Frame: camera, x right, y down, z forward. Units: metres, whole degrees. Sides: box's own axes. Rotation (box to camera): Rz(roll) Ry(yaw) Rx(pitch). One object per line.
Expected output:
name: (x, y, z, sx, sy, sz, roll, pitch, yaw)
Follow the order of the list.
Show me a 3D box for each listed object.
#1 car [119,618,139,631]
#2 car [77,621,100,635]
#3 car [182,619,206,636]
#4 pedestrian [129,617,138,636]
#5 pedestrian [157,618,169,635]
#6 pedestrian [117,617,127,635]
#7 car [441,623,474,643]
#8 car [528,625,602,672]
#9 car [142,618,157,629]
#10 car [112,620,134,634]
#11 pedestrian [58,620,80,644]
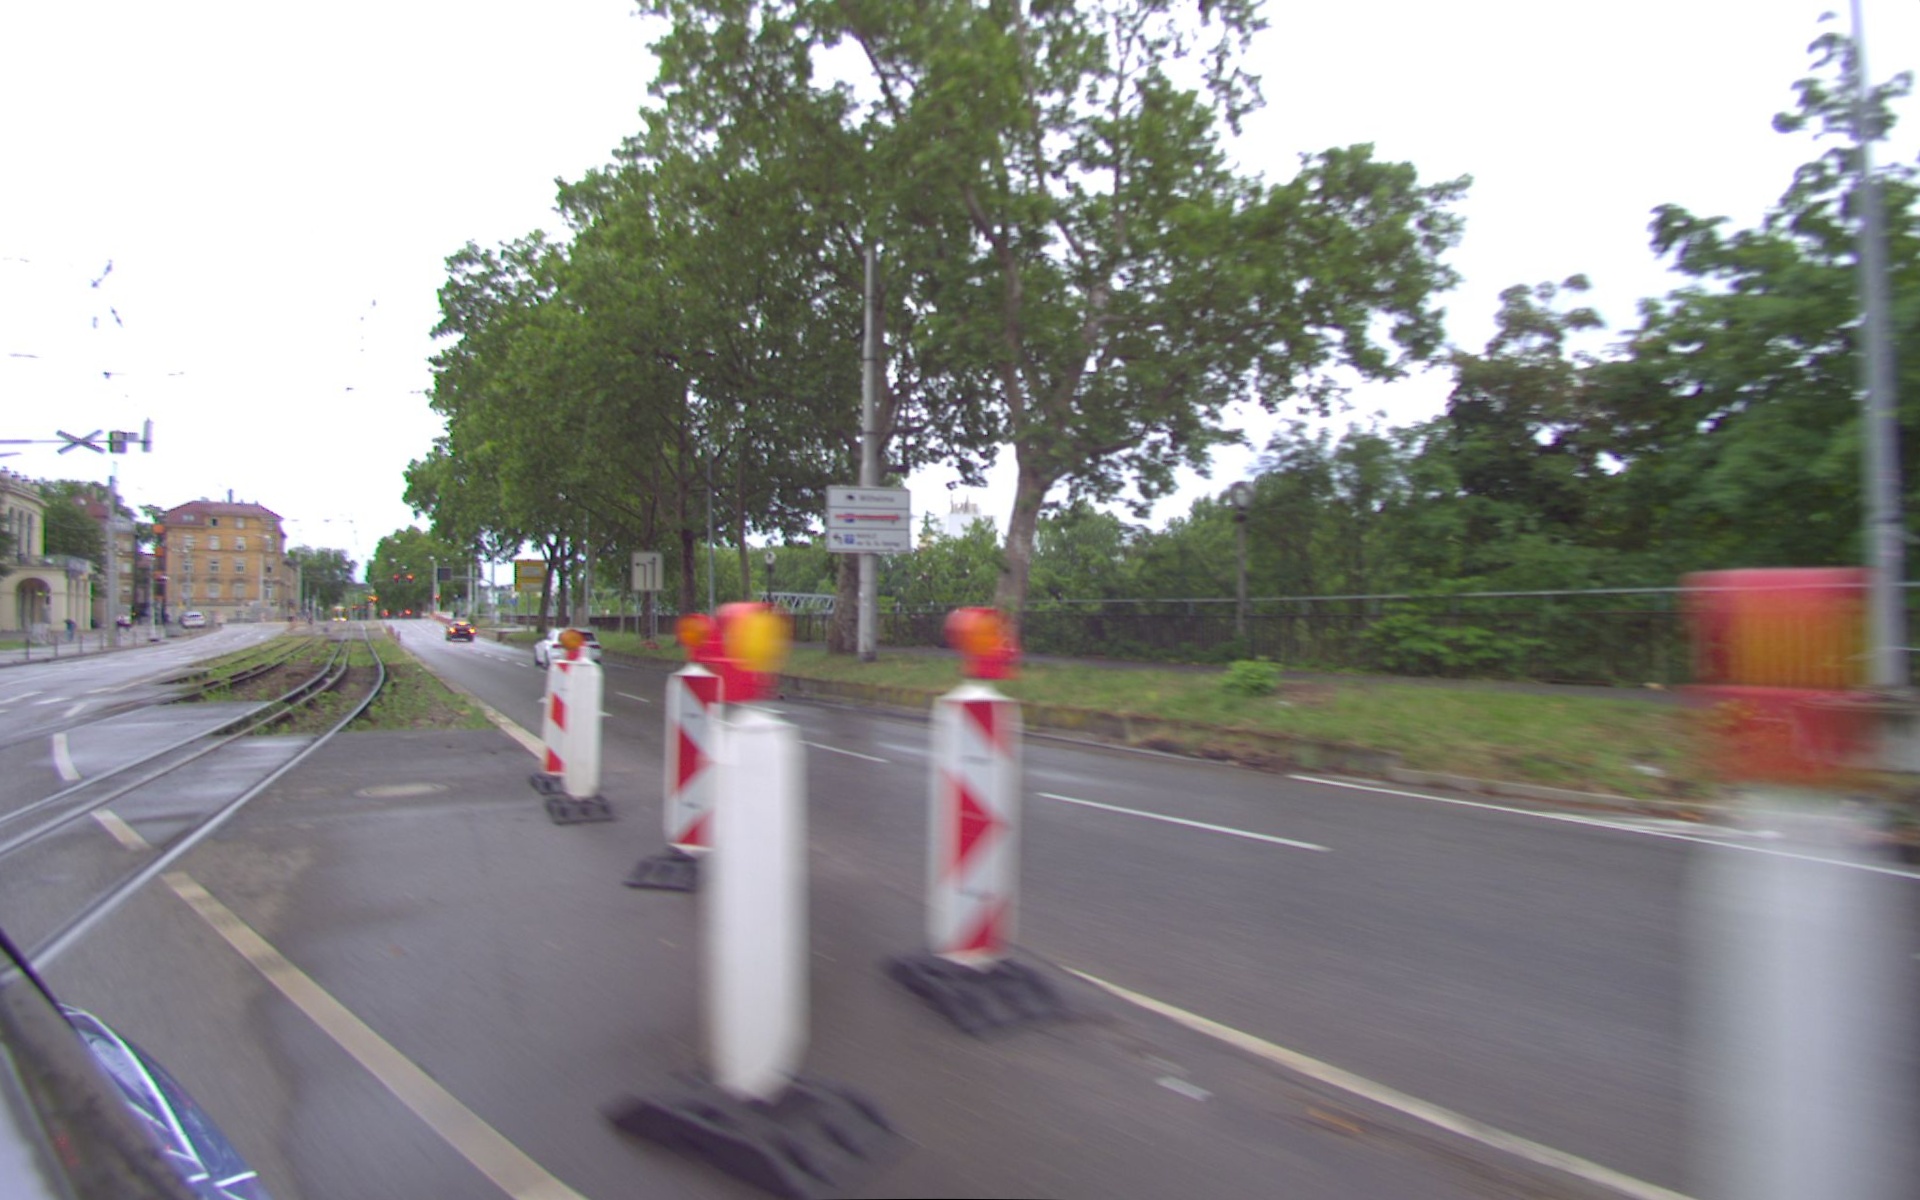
car: (-105.665, 3.093, 128.700, 1.802, 1.594, 4.009, 1, -1, -37)
car: (-101.894, 3.264, 118.356, 1.835, 1.560, 4.074, -1, 0, -38)
car: (-82.223, 2.922, 108.657, 1.814, 1.652, 4.153, -3, 2, -36)
pedestrian: (-77.064, 2.505, 94.380, 0.586, 1.749, 0.841, 1, -1, -34)
pedestrian: (-87.192, 2.846, 110.660, 0.692, 1.820, 0.777, -1, 0, 18)
pedestrian: (-77.765, 2.425, 93.916, 0.619, 1.657, 0.782, 1, -1, -38)
car: (-37.531, 2.452, 75.560, 1.722, 1.441, 4.573, 2, -2, -32)
car: (-13.971, 1.675, 35.634, 1.685, 1.510, 4.734, 3, -2, -30)
car: (-129.742, 3.756, 161.992, 1.802, 1.594, 4.009, 1, -1, -37)
car: (-99.180, 3.143, 119.981, 1.802, 1.594, 4.009, 1, -1, -37)
pedestrian: (-61.234, 2.190, 69.576, 0.852, 1.603, 0.669, 1, -2, -5)
